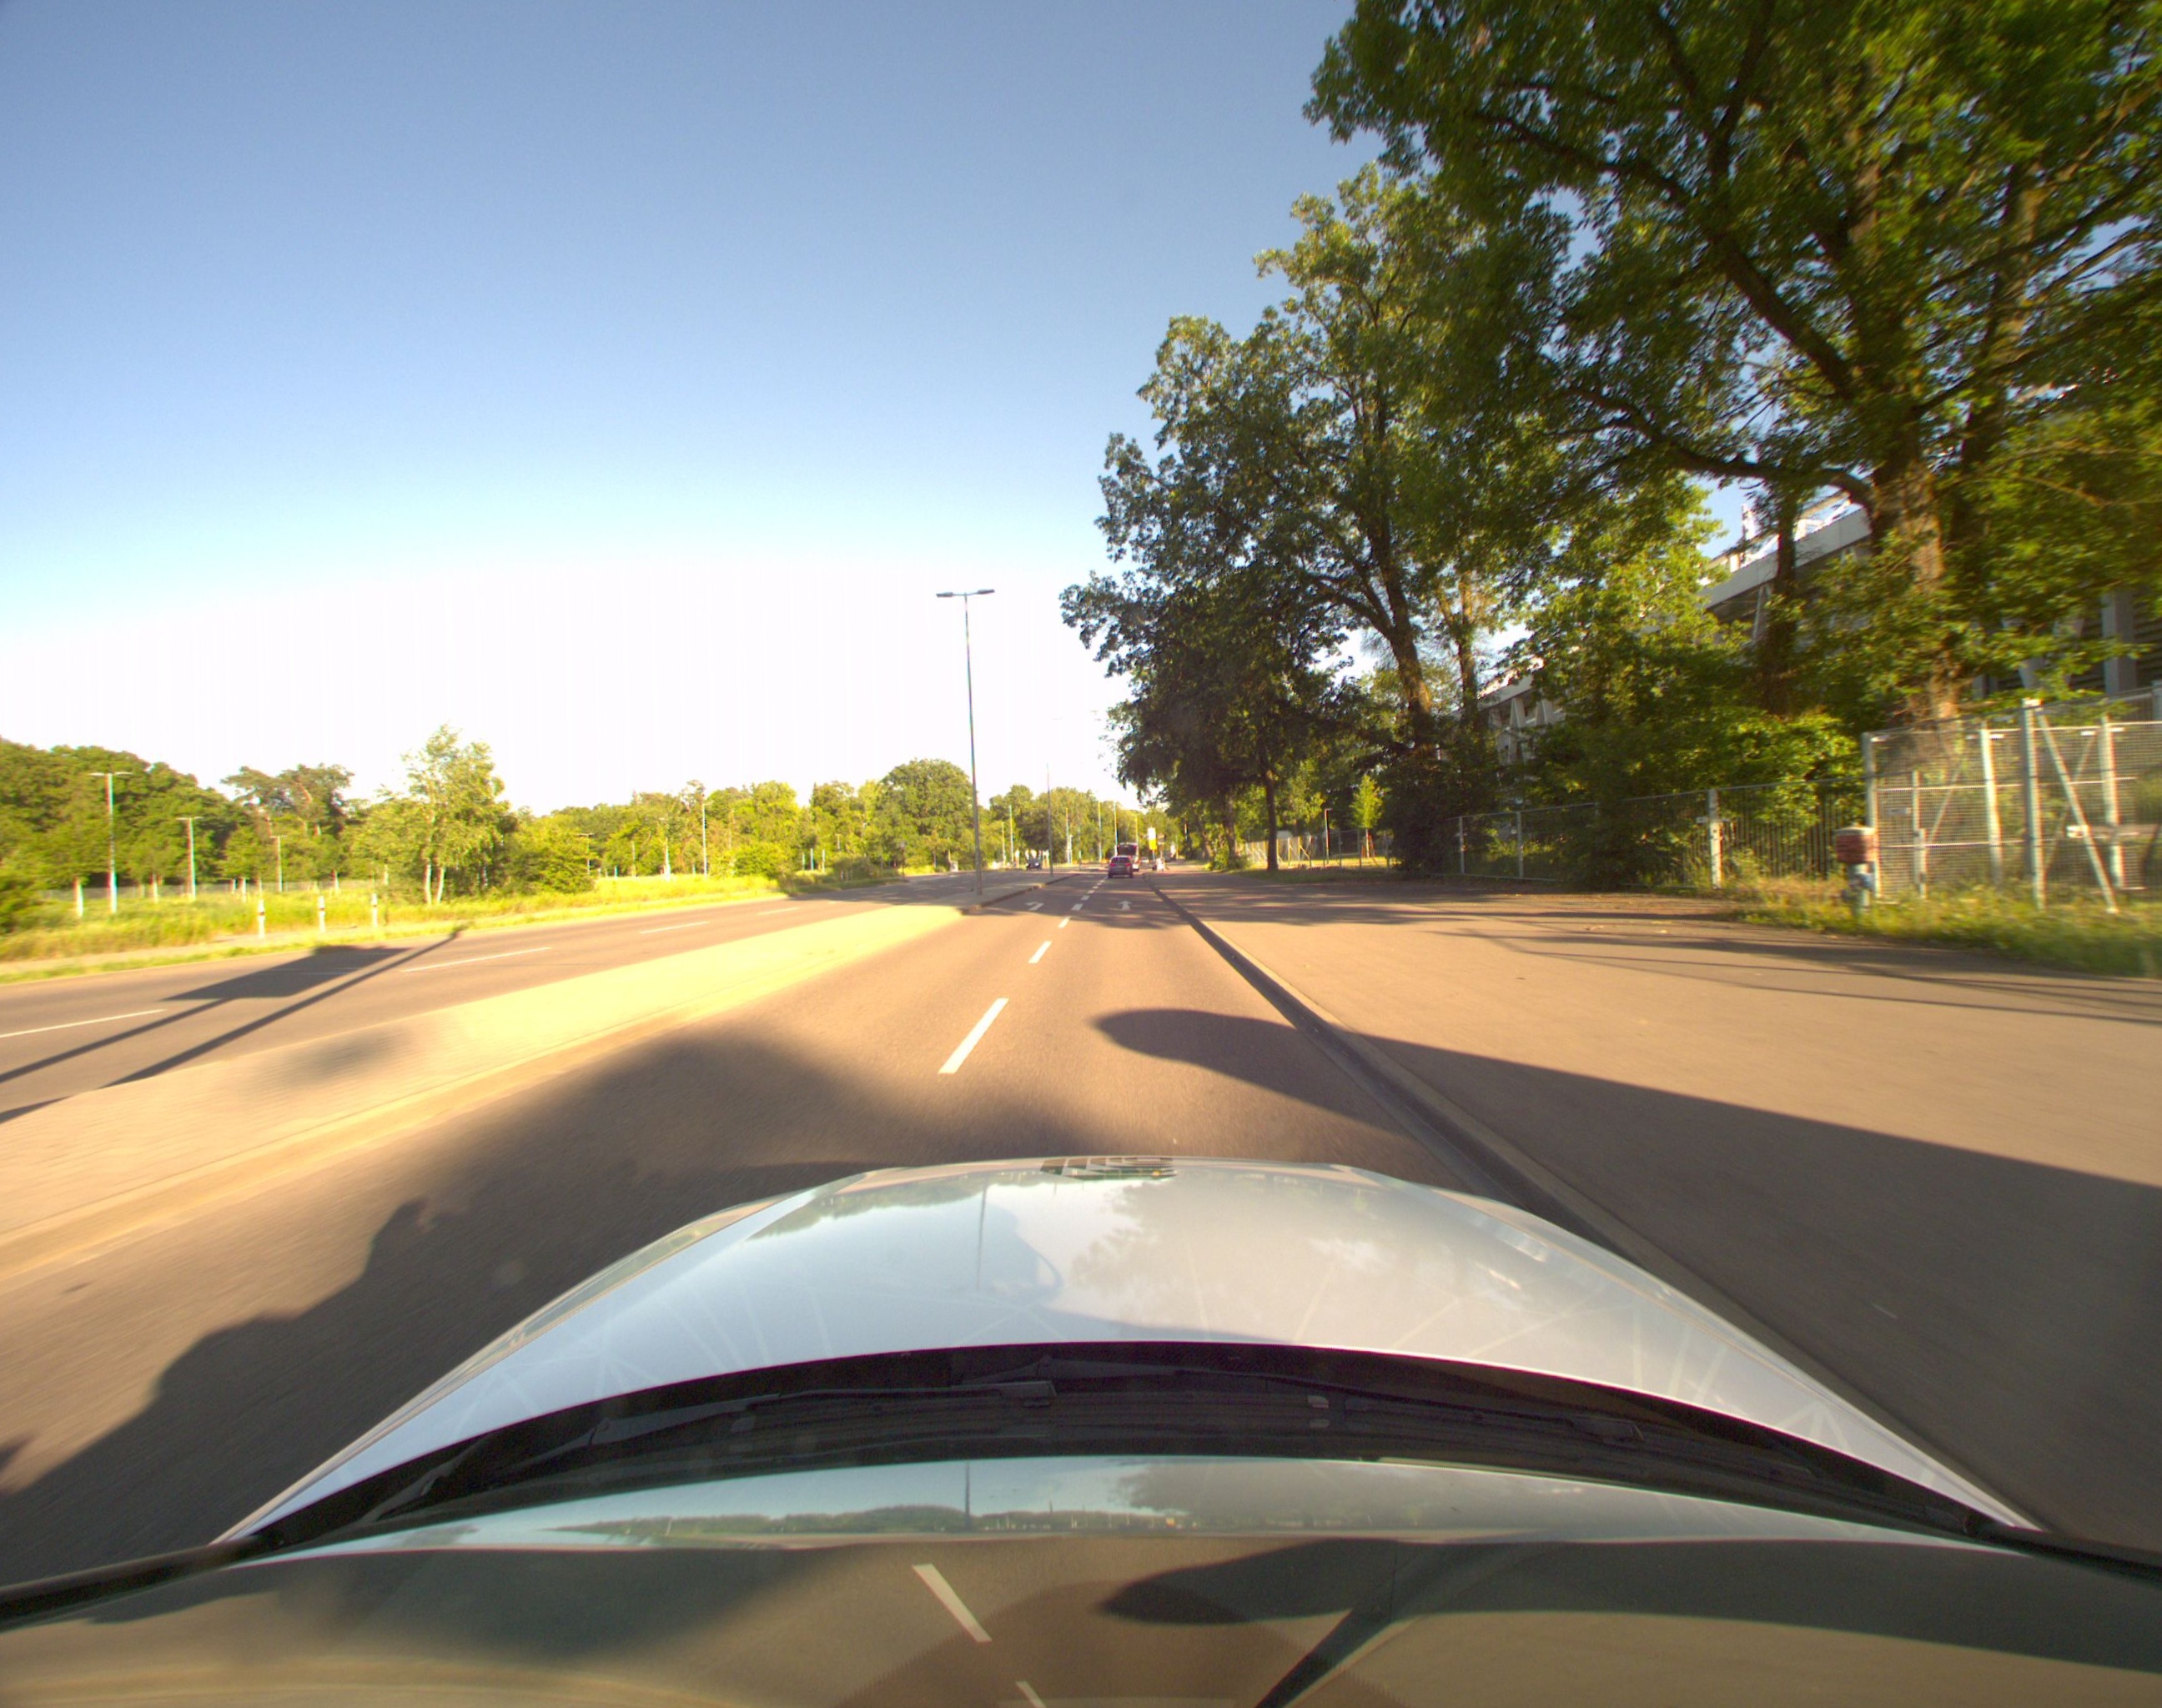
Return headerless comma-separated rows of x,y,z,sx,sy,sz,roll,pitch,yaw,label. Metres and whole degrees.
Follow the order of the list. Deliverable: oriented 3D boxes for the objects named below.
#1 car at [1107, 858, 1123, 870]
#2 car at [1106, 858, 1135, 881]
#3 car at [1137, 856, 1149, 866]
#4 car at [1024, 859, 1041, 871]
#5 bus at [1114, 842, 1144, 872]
4.840,1.415,115.360,1.827,1.518,4.007,-2,-1,6,car
2.981,1.124,61.391,1.889,1.632,4.007,0,0,6,car
10.775,1.224,140.820,1.901,1.728,4.585,-1,-1,5,car
-6.858,1.573,115.307,1.775,1.692,4.706,0,0,3,car
5.272,0.372,88.149,2.581,2.989,9.343,-1,-1,7,bus
